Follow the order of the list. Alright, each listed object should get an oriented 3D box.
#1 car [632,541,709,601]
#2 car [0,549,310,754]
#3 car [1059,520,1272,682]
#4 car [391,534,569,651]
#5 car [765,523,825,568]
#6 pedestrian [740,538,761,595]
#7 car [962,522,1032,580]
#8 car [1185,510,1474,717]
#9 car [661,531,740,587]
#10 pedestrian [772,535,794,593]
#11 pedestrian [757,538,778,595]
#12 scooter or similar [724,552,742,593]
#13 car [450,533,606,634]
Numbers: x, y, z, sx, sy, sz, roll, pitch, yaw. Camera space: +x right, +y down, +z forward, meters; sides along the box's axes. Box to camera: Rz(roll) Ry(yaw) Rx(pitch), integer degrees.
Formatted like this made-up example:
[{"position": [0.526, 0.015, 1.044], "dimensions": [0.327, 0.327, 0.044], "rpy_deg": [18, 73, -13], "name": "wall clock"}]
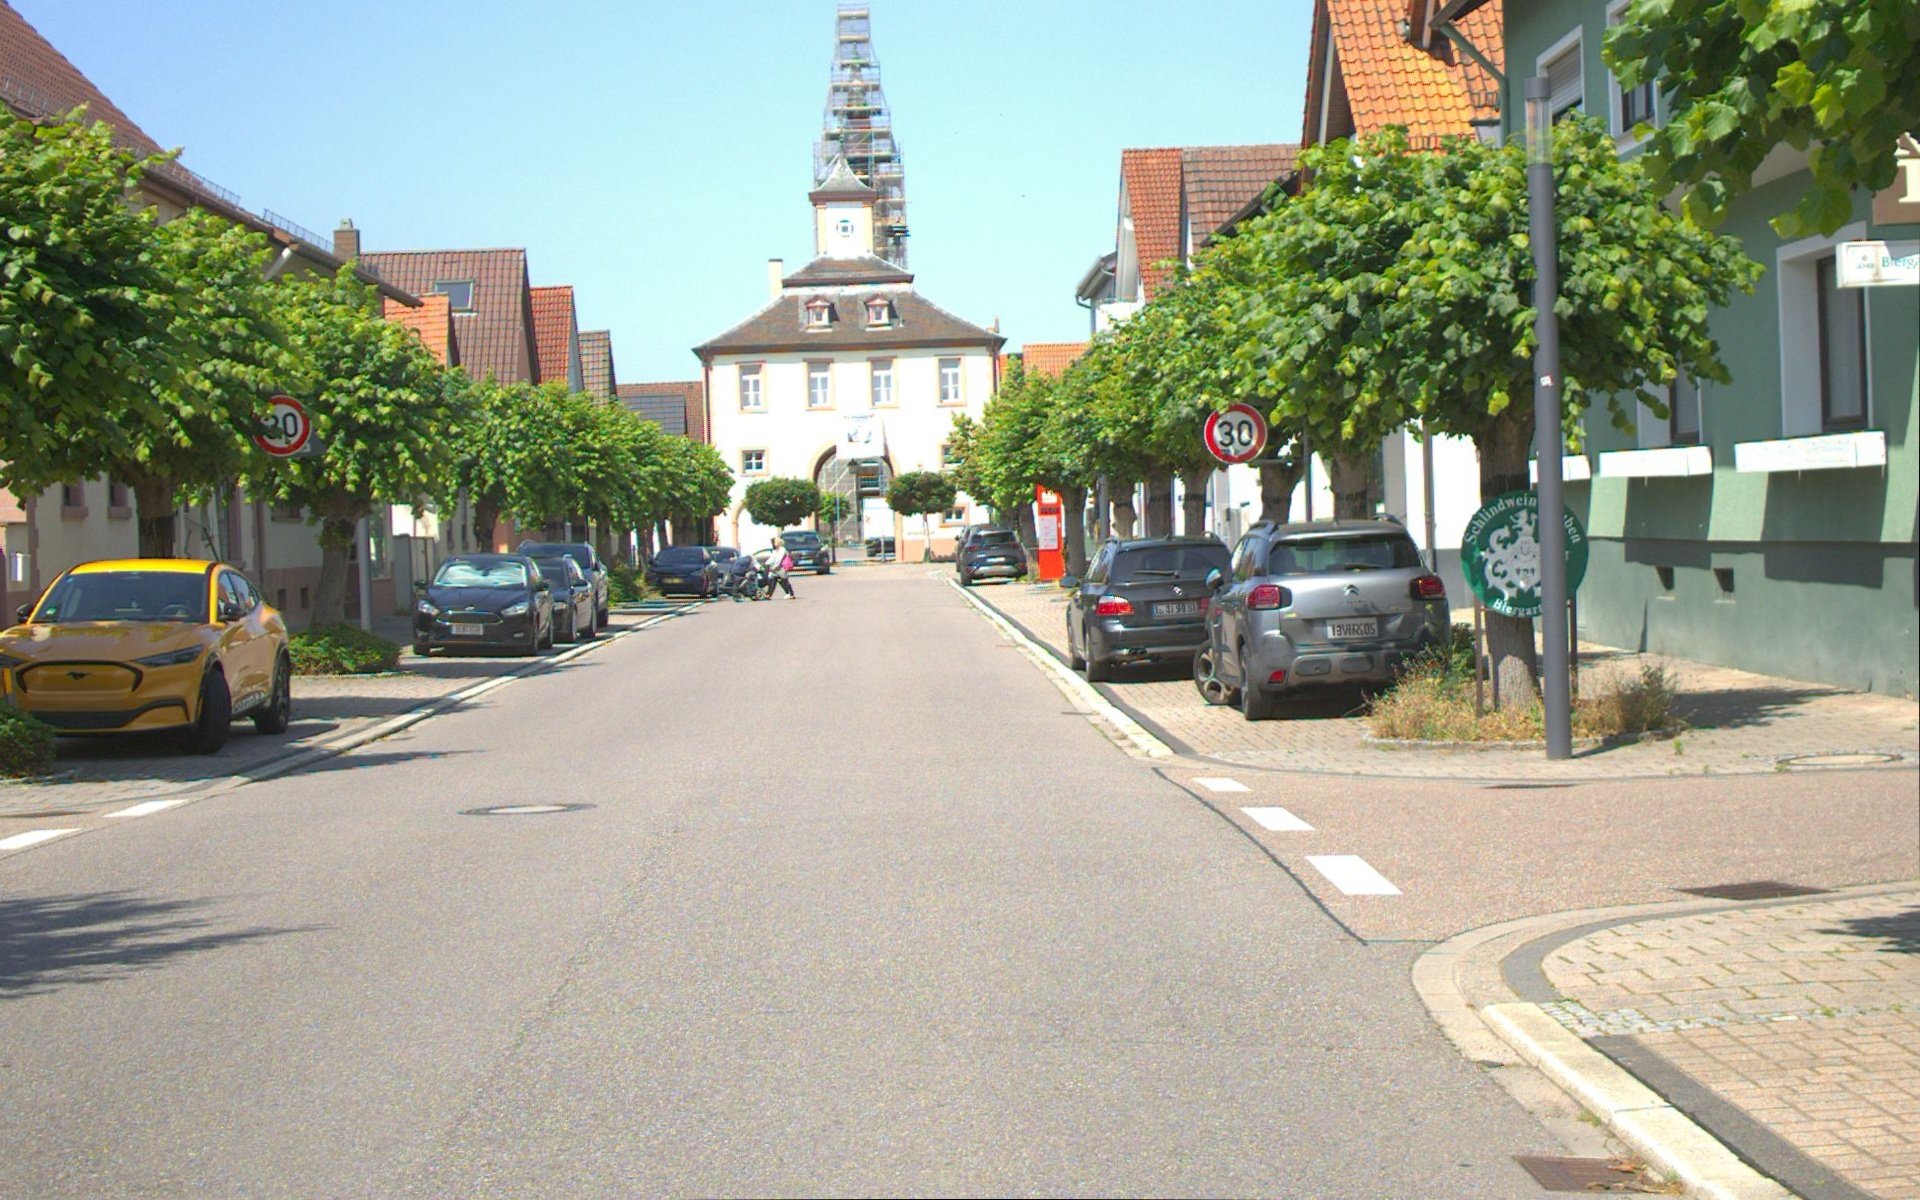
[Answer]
[{"position": [-7.897, -0.819, 94.060], "dimensions": [1.757, 1.550, 4.020], "rpy_deg": [-2, 1, -1], "name": "car"}, {"position": [-7.048, 0.375, 29.662], "dimensions": [1.993, 1.606, 4.689], "rpy_deg": [0, 1, 0], "name": "car"}, {"position": [2.150, -0.032, 37.054], "dimensions": [1.837, 1.550, 4.314], "rpy_deg": [-3, 1, -1], "name": "car"}, {"position": [-7.061, -0.149, 51.058], "dimensions": [1.993, 1.606, 4.689], "rpy_deg": [0, 2, 0], "name": "car"}, {"position": [-6.103, -1.991, 126.744], "dimensions": [1.993, 1.606, 4.507], "rpy_deg": [0, 0, -5], "name": "car"}, {"position": [-5.201, -0.836, 85.368], "dimensions": [0.358, 1.398, 0.319], "rpy_deg": [-1, 1, 36], "name": "pedestrian"}, {"position": [1.053, -1.434, 99.734], "dimensions": [1.837, 1.550, 4.314], "rpy_deg": [-3, 1, -1], "name": "car"}, {"position": [3.081, 0.070, 29.400], "dimensions": [1.837, 1.602, 4.001], "rpy_deg": [-1, 1, -2], "name": "car"}, {"position": [-7.513, -1.180, 99.804], "dimensions": [1.993, 1.606, 3.855], "rpy_deg": [0, 0, 0], "name": "car"}, {"position": [-4.364, -0.884, 84.755], "dimensions": [0.358, 1.398, 0.319], "rpy_deg": [-1, 1, 36], "name": "pedestrian"}, {"position": [-4.794, -0.837, 85.585], "dimensions": [0.358, 1.398, 0.319], "rpy_deg": [-1, 1, 36], "name": "pedestrian"}, {"position": [-5.634, -0.691, 85.367], "dimensions": [0.329, 0.999, 0.241], "rpy_deg": [-1, 1, 36], "name": "scooter or similar"}, {"position": [-7.081, -0.278, 56.790], "dimensions": [1.993, 1.606, 4.689], "rpy_deg": [0, 0, 0], "name": "car"}]
